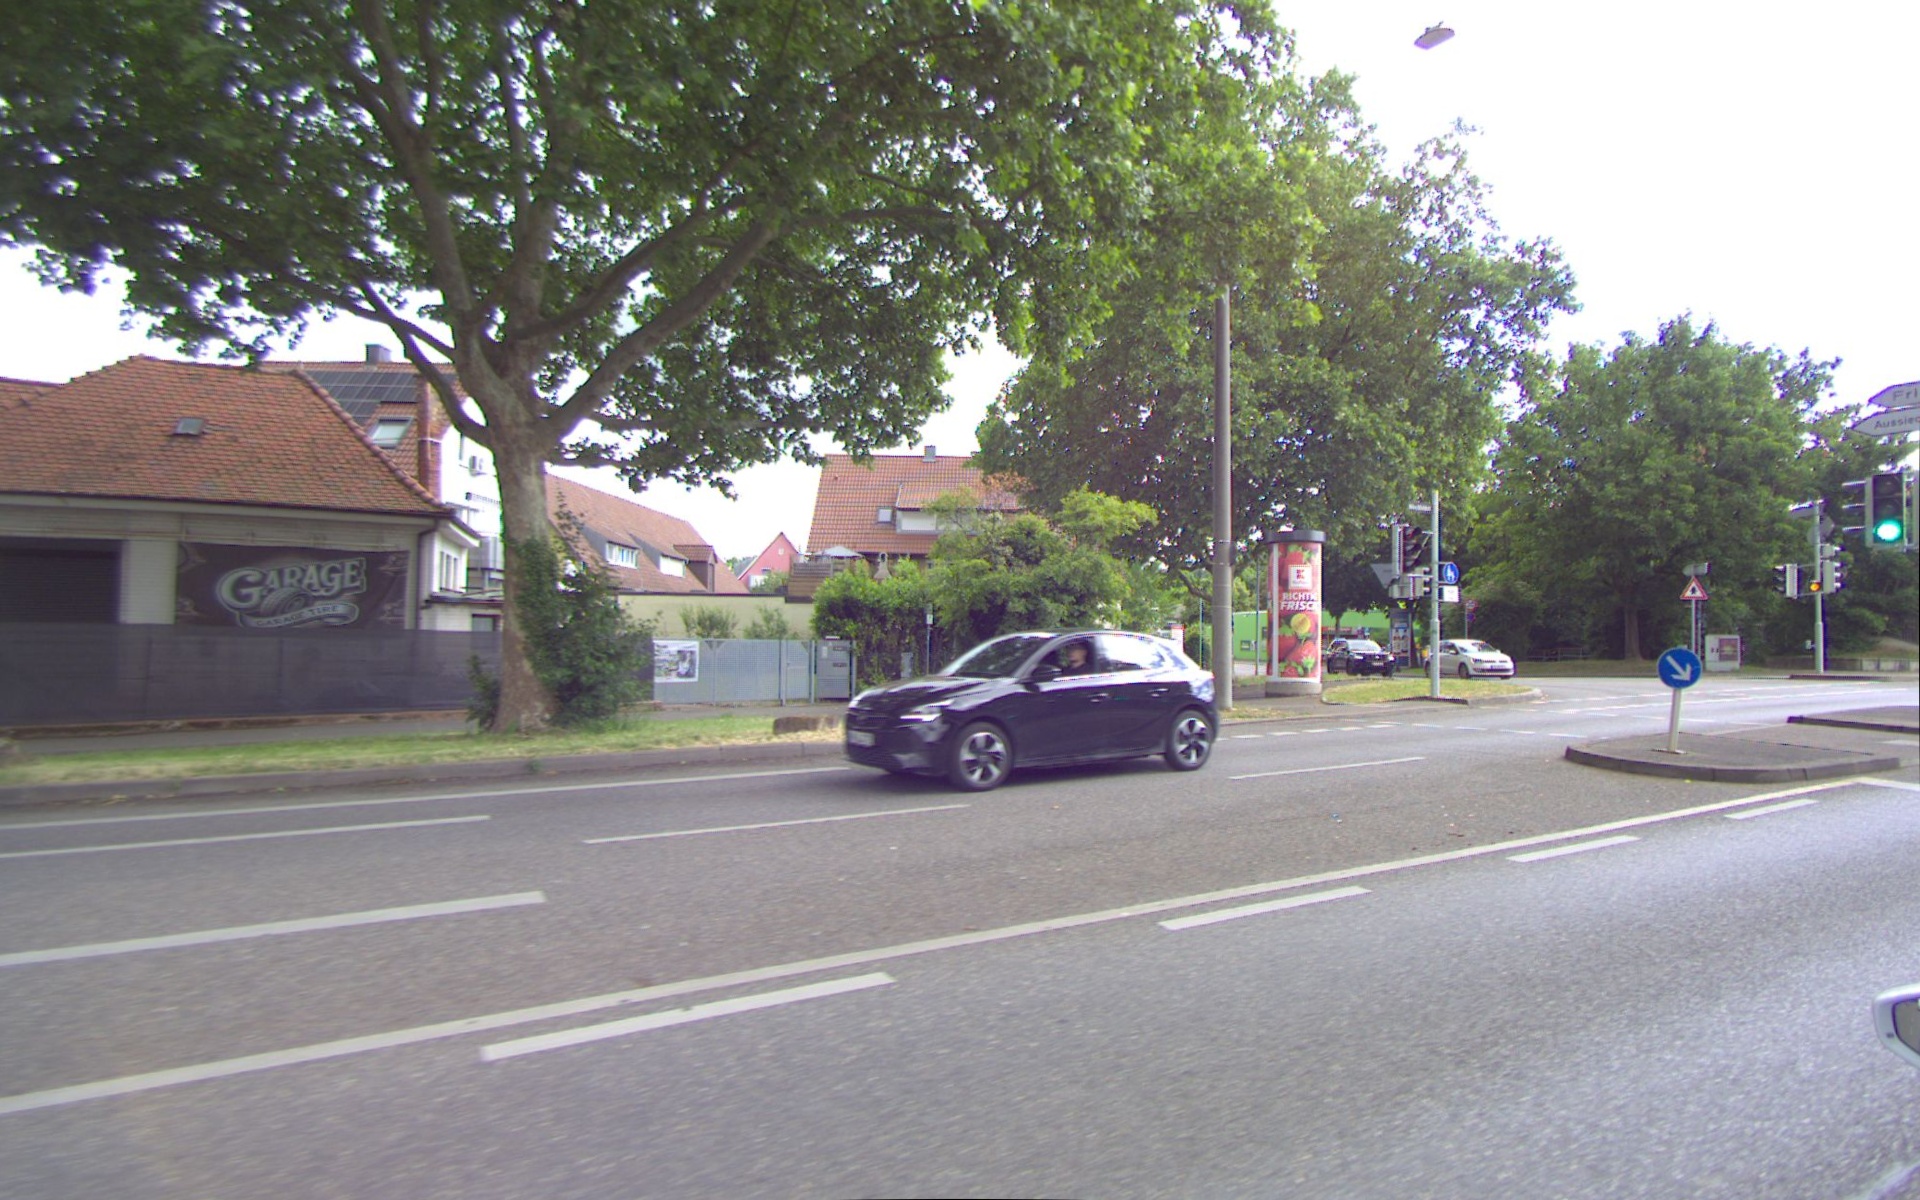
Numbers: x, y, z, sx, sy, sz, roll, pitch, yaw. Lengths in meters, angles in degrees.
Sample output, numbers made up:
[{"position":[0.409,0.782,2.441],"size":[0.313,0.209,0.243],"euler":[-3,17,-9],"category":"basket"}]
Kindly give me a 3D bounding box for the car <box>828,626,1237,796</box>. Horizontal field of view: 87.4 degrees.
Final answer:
[{"position":[0.793,0.982,10.029],"size":[3.905,1.400,1.561],"euler":[1,-3,-32],"category":"car"}]

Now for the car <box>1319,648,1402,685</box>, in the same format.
[{"position":[18.640,3.077,46.966],"size":[1.962,1.566,4.269],"euler":[1,-2,-4],"category":"car"}]

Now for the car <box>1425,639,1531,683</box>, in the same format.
[{"position":[18.679,2.162,36.413],"size":[1.790,1.499,3.855],"euler":[1,-2,-1],"category":"car"}]

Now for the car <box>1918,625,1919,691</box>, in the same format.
[{"position":[24.256,1.361,23.591],"size":[3.147,1.547,1.563],"euler":[1,-1,-26],"category":"car"}]
